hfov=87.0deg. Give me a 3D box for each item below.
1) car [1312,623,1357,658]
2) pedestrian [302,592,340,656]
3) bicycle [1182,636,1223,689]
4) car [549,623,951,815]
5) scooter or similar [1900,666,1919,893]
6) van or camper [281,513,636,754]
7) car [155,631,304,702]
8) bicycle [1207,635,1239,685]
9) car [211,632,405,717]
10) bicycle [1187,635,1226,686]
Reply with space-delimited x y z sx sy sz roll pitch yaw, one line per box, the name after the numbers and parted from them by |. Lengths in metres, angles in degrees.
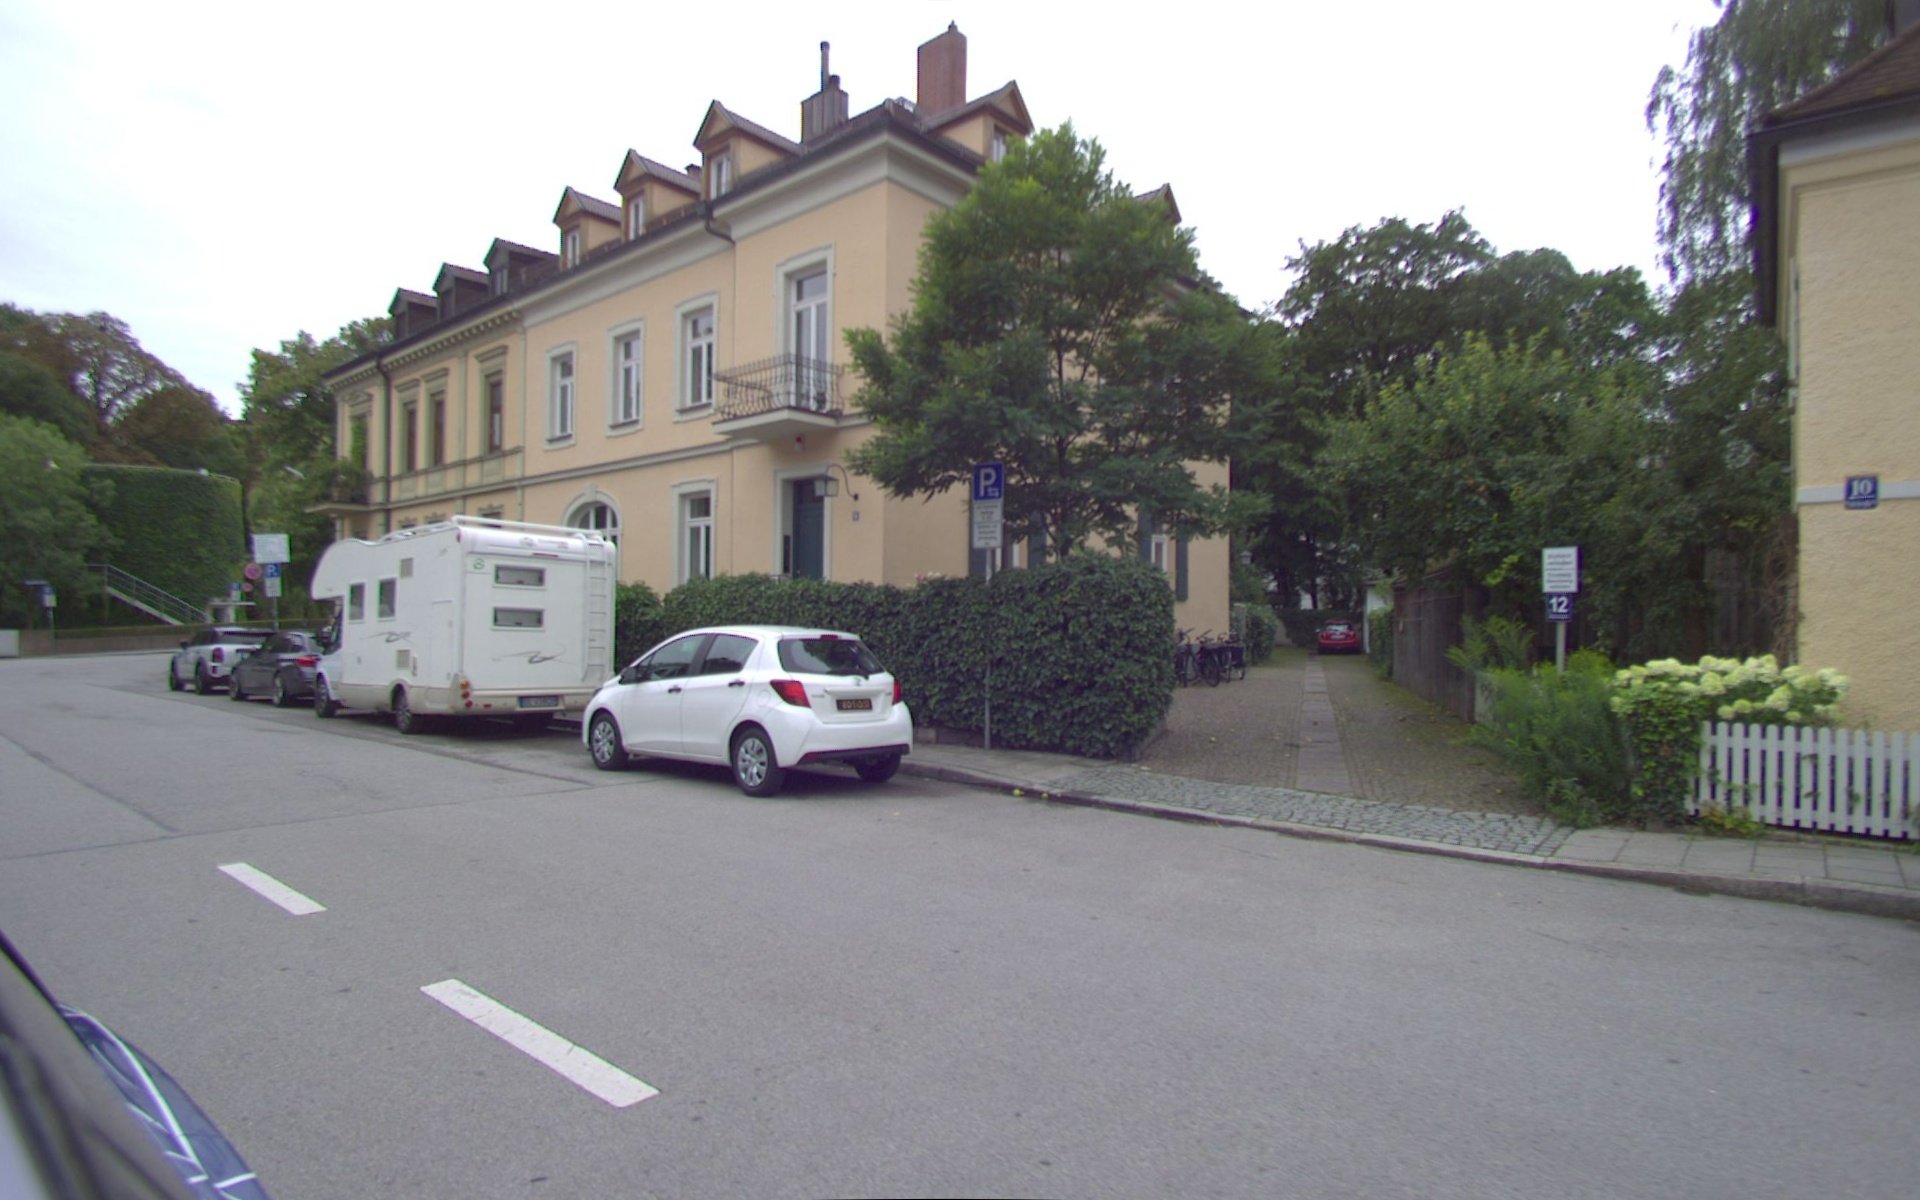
16.278 1.707 43.926 1.747 1.409 3.971 -1 -1 21 | car
-16.462 0.619 26.059 0.740 1.616 0.646 -2 -1 42 | pedestrian
5.276 1.336 22.071 0.363 1.093 1.744 0 -2 -3 | bicycle
-2.267 1.061 10.268 4.225 1.547 1.760 -2 -5 41 | car
5.818 0.973 5.225 1.370 1.197 0.447 -1 -1 42 | scooter or similar
-8.077 0.540 15.780 7.210 2.963 2.428 -2 -4 42 | van or camper
-17.655 1.568 24.381 4.530 1.547 1.915 -2 -5 42 | car
6.047 1.354 23.332 0.364 1.093 1.741 0 -2 3 | bicycle
-13.267 1.445 20.484 4.818 1.520 1.916 -1 -5 40 | car
5.549 1.347 22.831 0.363 1.093 1.744 0 -2 -3 | bicycle
